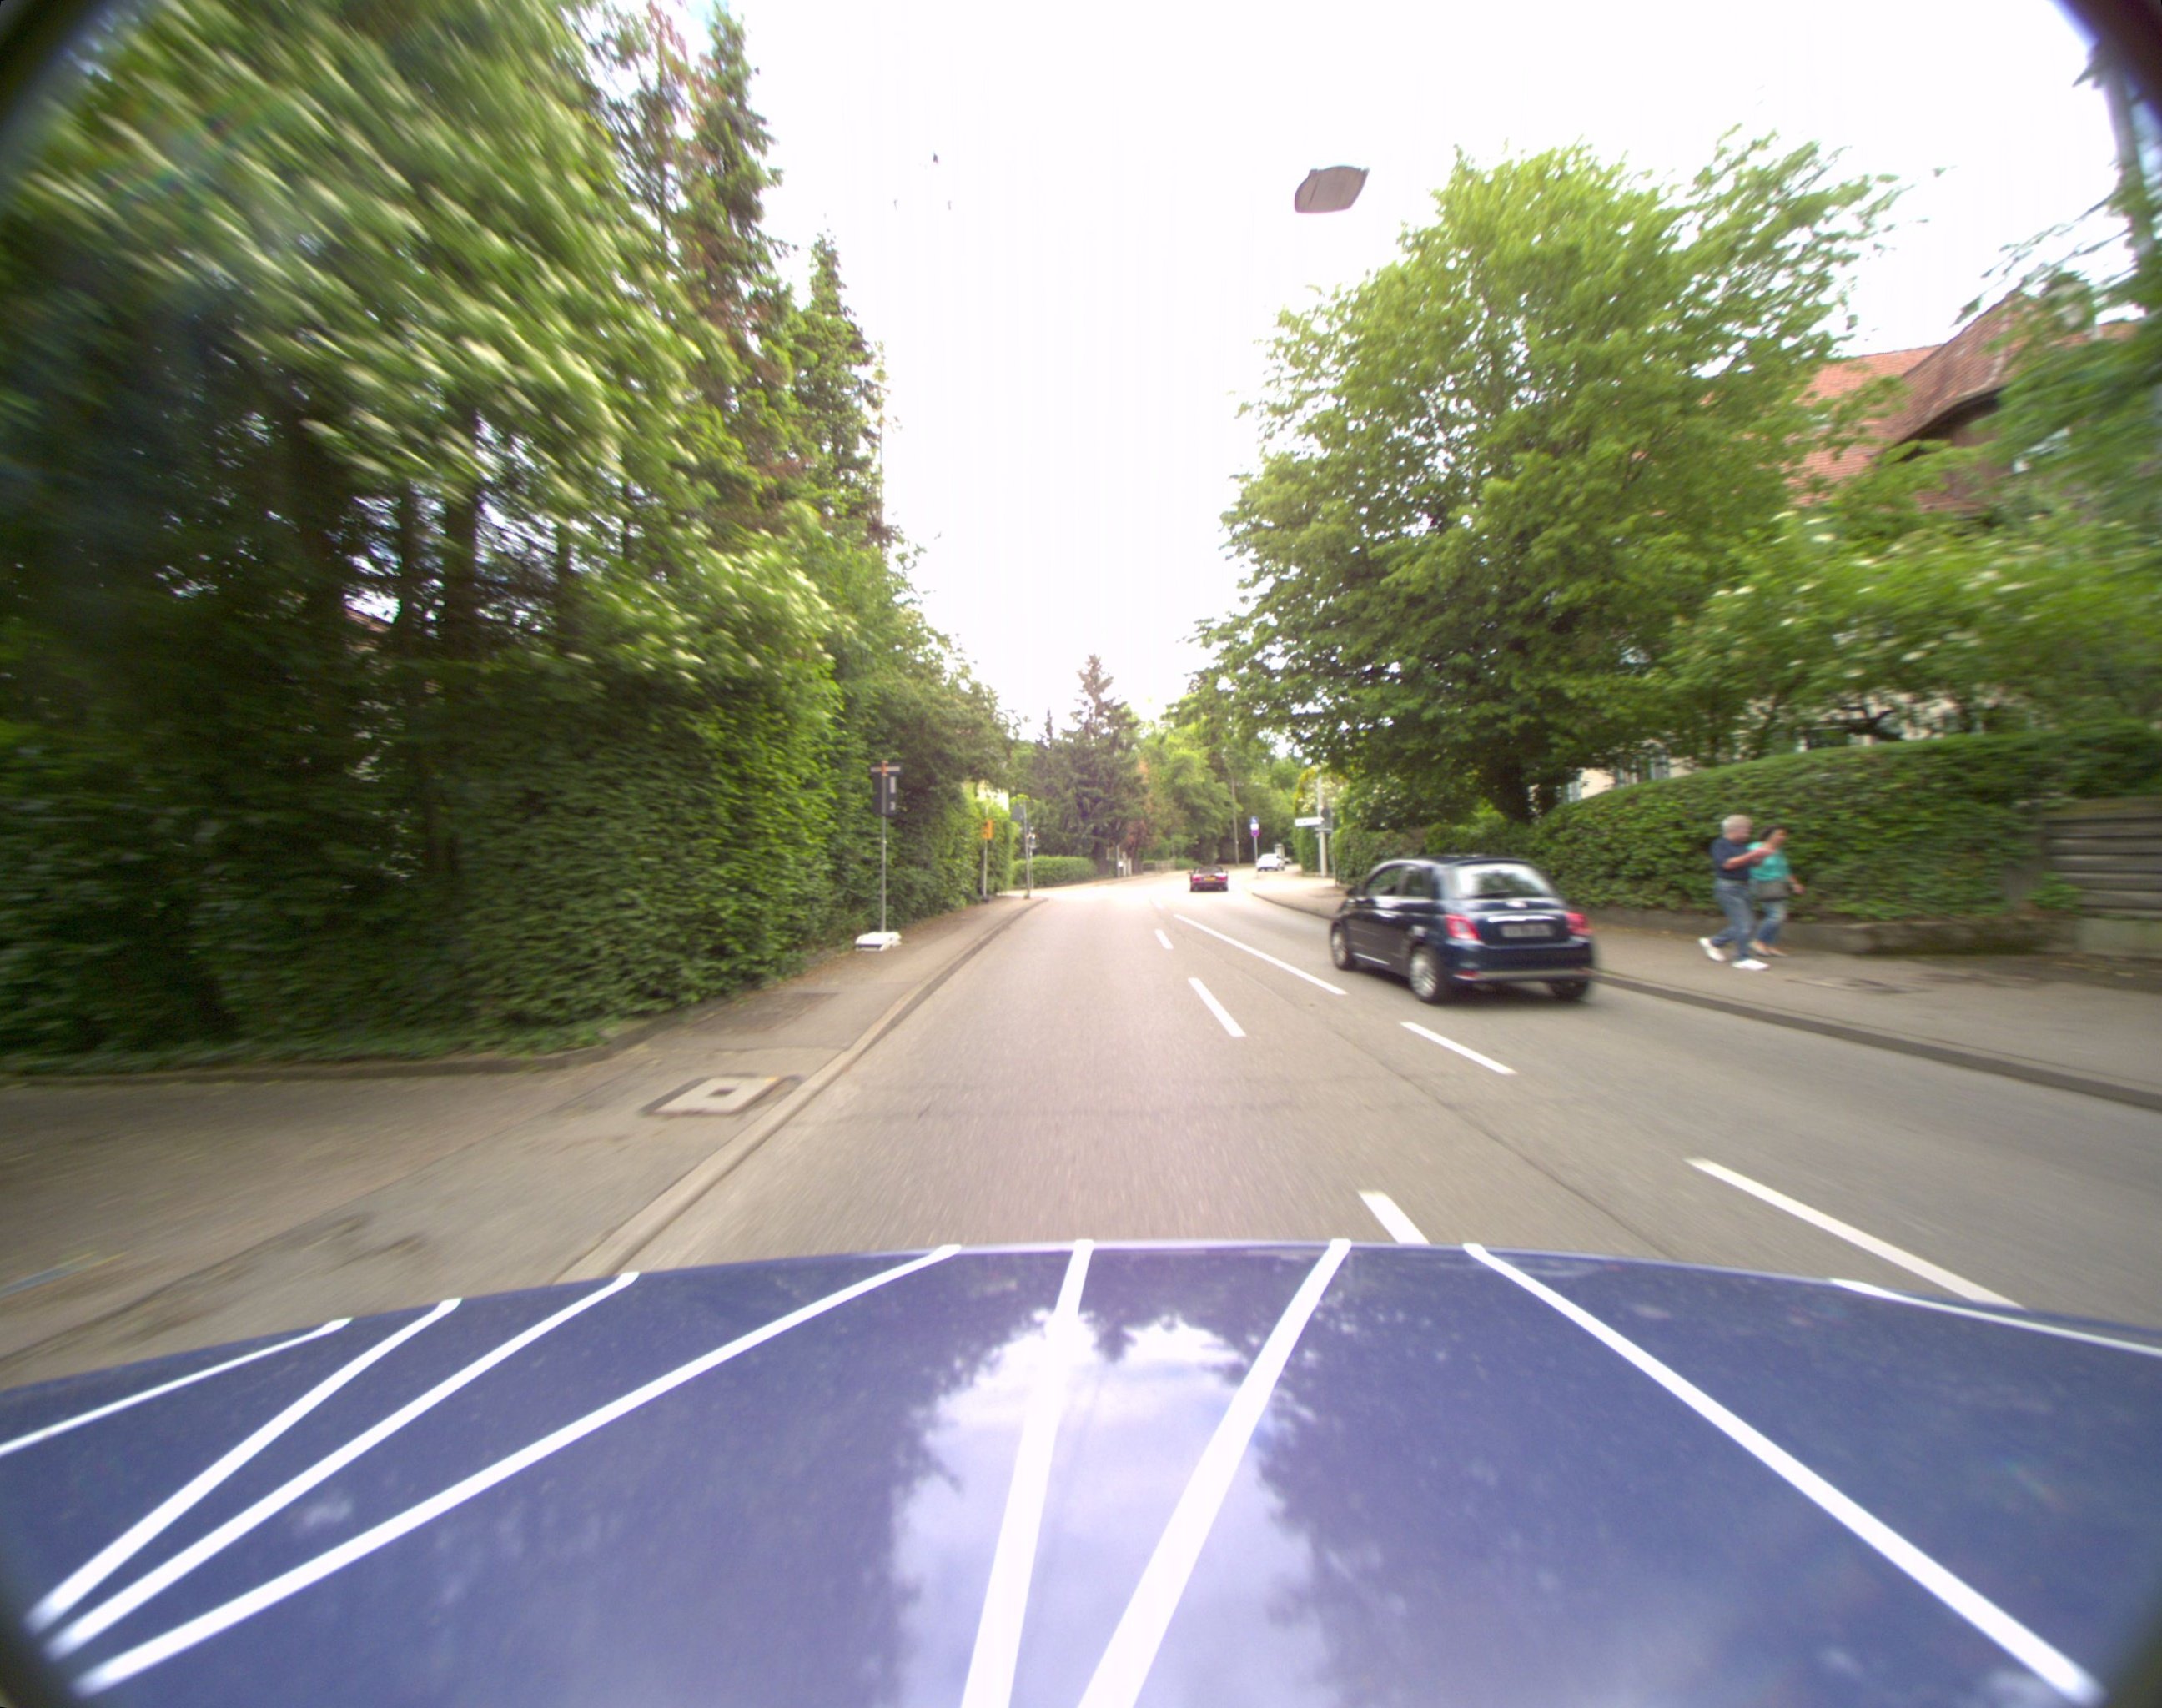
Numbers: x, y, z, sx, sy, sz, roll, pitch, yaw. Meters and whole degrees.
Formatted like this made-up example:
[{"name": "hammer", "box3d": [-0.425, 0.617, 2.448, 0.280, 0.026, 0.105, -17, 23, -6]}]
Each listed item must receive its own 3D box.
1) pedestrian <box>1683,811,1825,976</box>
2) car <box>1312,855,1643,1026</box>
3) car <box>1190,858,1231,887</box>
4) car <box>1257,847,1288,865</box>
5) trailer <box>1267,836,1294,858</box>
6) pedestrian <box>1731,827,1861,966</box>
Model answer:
[{"name": "pedestrian", "box3d": [7.287, 0.399, 8.259, 0.631, 1.652, 0.918, -3, 1, -13]}, {"name": "car", "box3d": [4.059, 0.764, 8.497, 1.724, 1.463, 3.530, -1, 0, -2]}, {"name": "car", "box3d": [5.845, 0.807, 34.483, 1.694, 1.170, 3.789, -1, 0, 9]}, {"name": "car", "box3d": [16.947, 0.195, 67.017, 1.809, 1.434, 4.205, -1, 1, 26]}, {"name": "trailer", "box3d": [27.301, -1.001, 104.101, 3.118, 2.882, 1.596, -3, 0, 33]}, {"name": "pedestrian", "box3d": [8.001, 0.453, 8.527, 0.671, 1.441, 0.756, -5, 1, -13]}]
